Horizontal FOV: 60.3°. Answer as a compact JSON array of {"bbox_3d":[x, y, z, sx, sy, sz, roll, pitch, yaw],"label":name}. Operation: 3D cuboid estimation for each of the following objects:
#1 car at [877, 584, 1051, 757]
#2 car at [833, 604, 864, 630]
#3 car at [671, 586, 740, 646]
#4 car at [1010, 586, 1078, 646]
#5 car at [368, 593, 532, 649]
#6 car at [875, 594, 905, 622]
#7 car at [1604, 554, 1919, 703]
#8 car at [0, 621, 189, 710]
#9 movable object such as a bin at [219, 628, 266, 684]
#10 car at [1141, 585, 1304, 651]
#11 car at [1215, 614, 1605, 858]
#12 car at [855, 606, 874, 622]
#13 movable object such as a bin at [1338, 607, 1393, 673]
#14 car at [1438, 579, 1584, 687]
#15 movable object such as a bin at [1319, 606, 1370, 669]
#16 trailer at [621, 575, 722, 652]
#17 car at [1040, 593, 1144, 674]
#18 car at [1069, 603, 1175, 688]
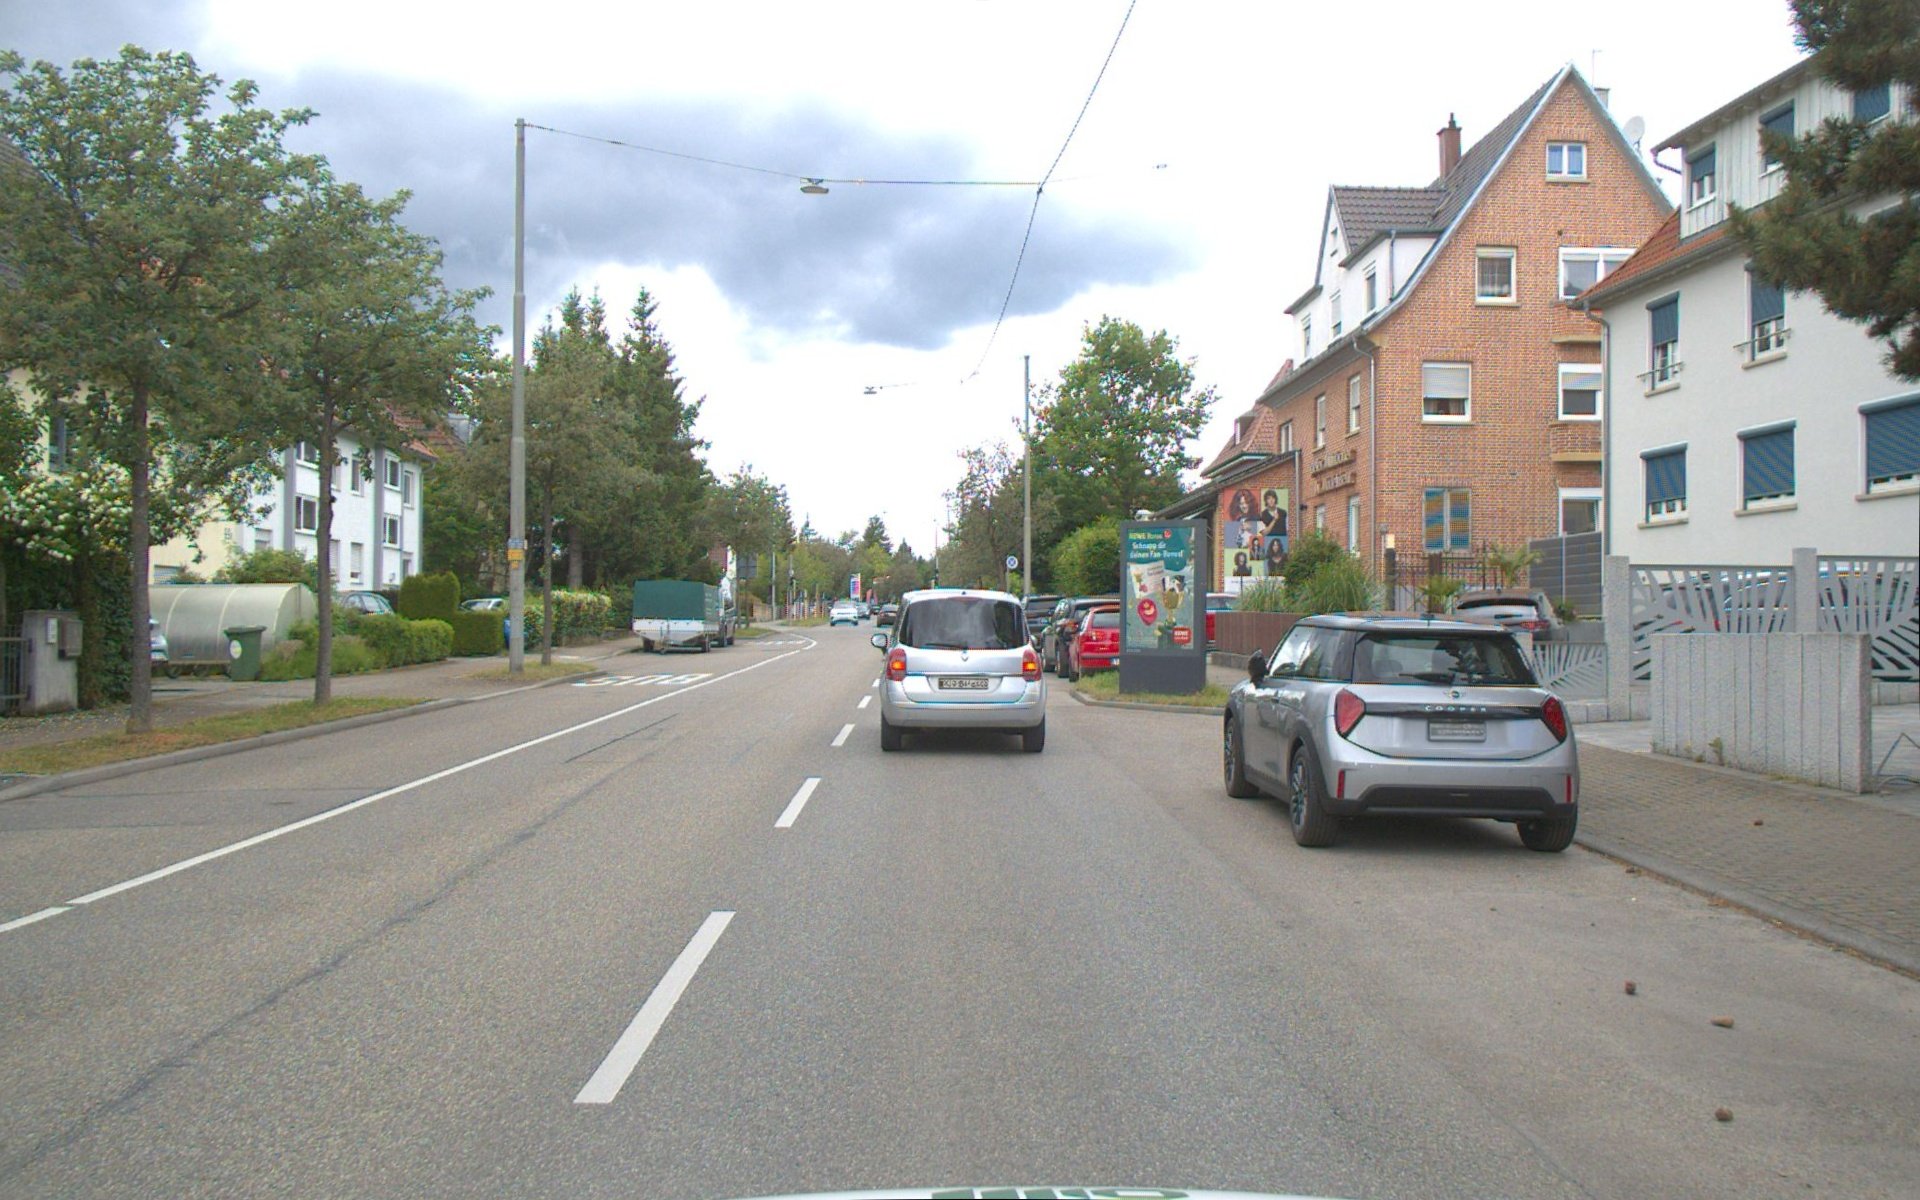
[{"bbox_3d":[0.017,0.695,17.546,1.597,1.584,3.999,1,-1,-1],"label":"car"},{"bbox_3d":[-7.391,1.142,109.417,1.869,1.646,3.994,1,-1,-6],"label":"car"},{"bbox_3d":[-8.872,0.575,57.994,1.850,1.956,4.559,1,-1,-3],"label":"car"},{"bbox_3d":[2.589,0.510,51.738,1.776,1.773,3.998,-1,-1,-2],"label":"car"},{"bbox_3d":[-13.330,0.567,43.445,3.916,1.361,1.573,2,-2,-11],"label":"car"},{"bbox_3d":[-4.322,0.482,102.942,1.792,1.705,3.573,0,0,-1],"label":"car"},{"bbox_3d":[10.377,0.320,20.399,4.182,1.532,1.691,-4,-2,-9],"label":"car"},{"bbox_3d":[-14.730,1.042,26.441,3.989,1.309,1.752,-1,0,-8],"label":"car"},{"bbox_3d":[-12.095,0.937,27.880,0.568,0.917,0.542,-1,-1,42],"label":"movable object such as a bin"},{"bbox_3d":[7.024,0.473,44.430,3.915,1.522,1.806,-3,0,-10],"label":"car"},{"bbox_3d":[2.938,0.827,11.643,1.616,1.407,3.999,1,-1,-1],"label":"car"},{"bbox_3d":[-9.035,1.329,156.854,1.688,1.436,3.996,2,-1,-4],"label":"car"},{"bbox_3d":[7.048,0.688,28.757,0.760,1.123,0.691,0,0,-2],"label":"movable object such as a bin"},{"bbox_3d":[8.658,0.459,25.759,1.781,1.404,4.479,-4,-1,22],"label":"car"},{"bbox_3d":[7.023,0.675,30.253,0.760,1.123,0.691,0,0,-2],"label":"movable object such as a bin"},{"bbox_3d":[-8.664,0.434,50.211,2.266,2.123,5.869,1,-1,-3],"label":"trailer"},{"bbox_3d":[2.720,0.662,34.792,1.629,1.592,4.095,0,0,-4],"label":"car"},{"bbox_3d":[2.931,0.794,30.493,1.628,1.417,3.668,-1,0,1],"label":"car"}]
